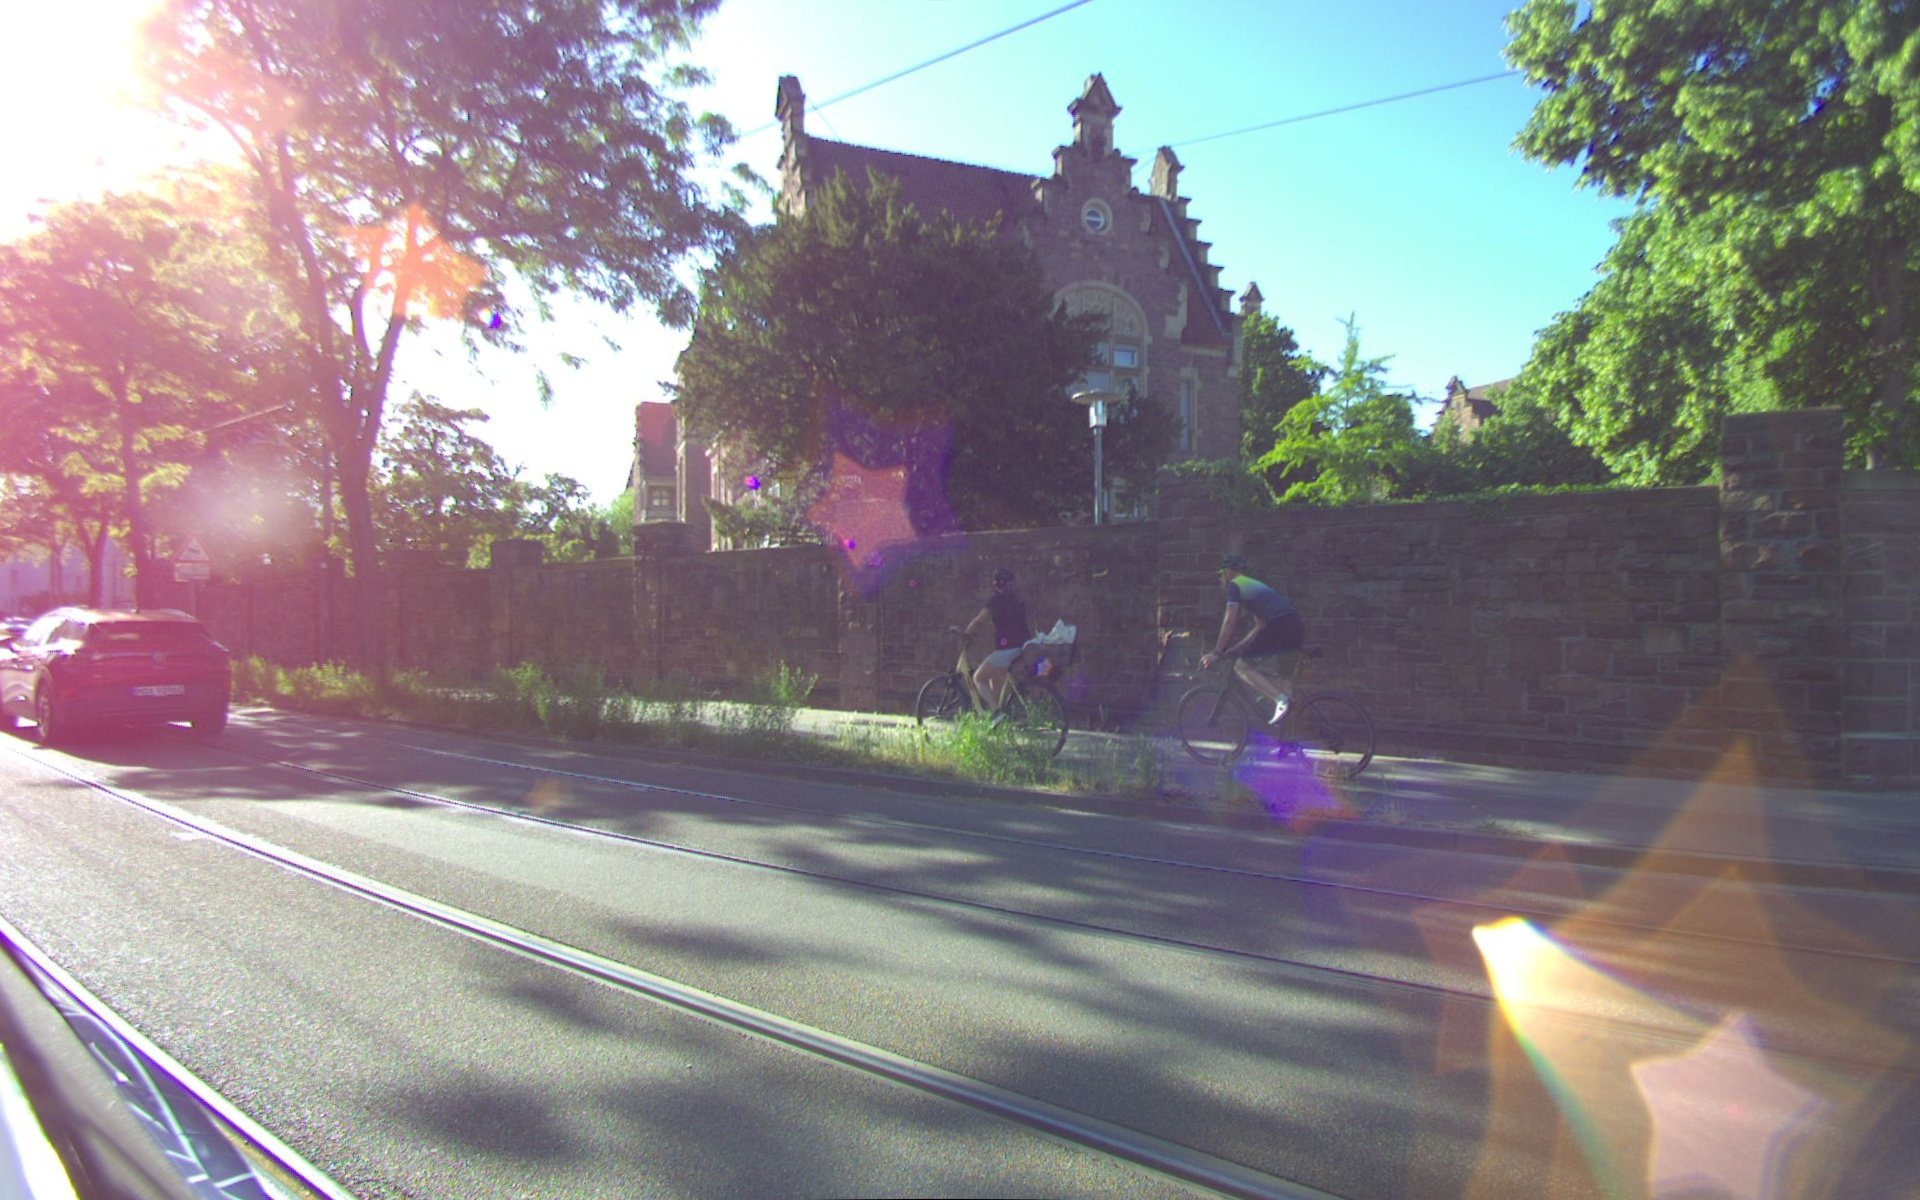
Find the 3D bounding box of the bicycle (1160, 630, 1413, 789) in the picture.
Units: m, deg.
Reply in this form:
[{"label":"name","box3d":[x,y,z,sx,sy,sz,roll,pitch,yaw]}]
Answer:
[{"label":"bicycle","box3d":[2.660,0.838,8.372,1.854,1.097,0.677,2,-1,41]}]

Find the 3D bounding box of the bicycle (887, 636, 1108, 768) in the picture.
[{"label":"bicycle","box3d":[0.309,0.894,9.499,2.060,1.097,0.678,-1,-1,37]}]

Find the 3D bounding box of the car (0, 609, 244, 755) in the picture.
[{"label":"car","box3d":[-11.226,0.953,13.324,4.354,1.619,1.800,-1,-1,38]}]

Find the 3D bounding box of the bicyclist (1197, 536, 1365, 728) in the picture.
[{"label":"bicyclist","box3d":[2.647,0.256,8.378,1.151,1.470,0.646,-1,-1,41]}]

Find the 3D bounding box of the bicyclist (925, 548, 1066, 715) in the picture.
[{"label":"bicyclist","box3d":[0.325,0.289,9.493,1.150,1.470,0.647,-1,-1,37]}]
